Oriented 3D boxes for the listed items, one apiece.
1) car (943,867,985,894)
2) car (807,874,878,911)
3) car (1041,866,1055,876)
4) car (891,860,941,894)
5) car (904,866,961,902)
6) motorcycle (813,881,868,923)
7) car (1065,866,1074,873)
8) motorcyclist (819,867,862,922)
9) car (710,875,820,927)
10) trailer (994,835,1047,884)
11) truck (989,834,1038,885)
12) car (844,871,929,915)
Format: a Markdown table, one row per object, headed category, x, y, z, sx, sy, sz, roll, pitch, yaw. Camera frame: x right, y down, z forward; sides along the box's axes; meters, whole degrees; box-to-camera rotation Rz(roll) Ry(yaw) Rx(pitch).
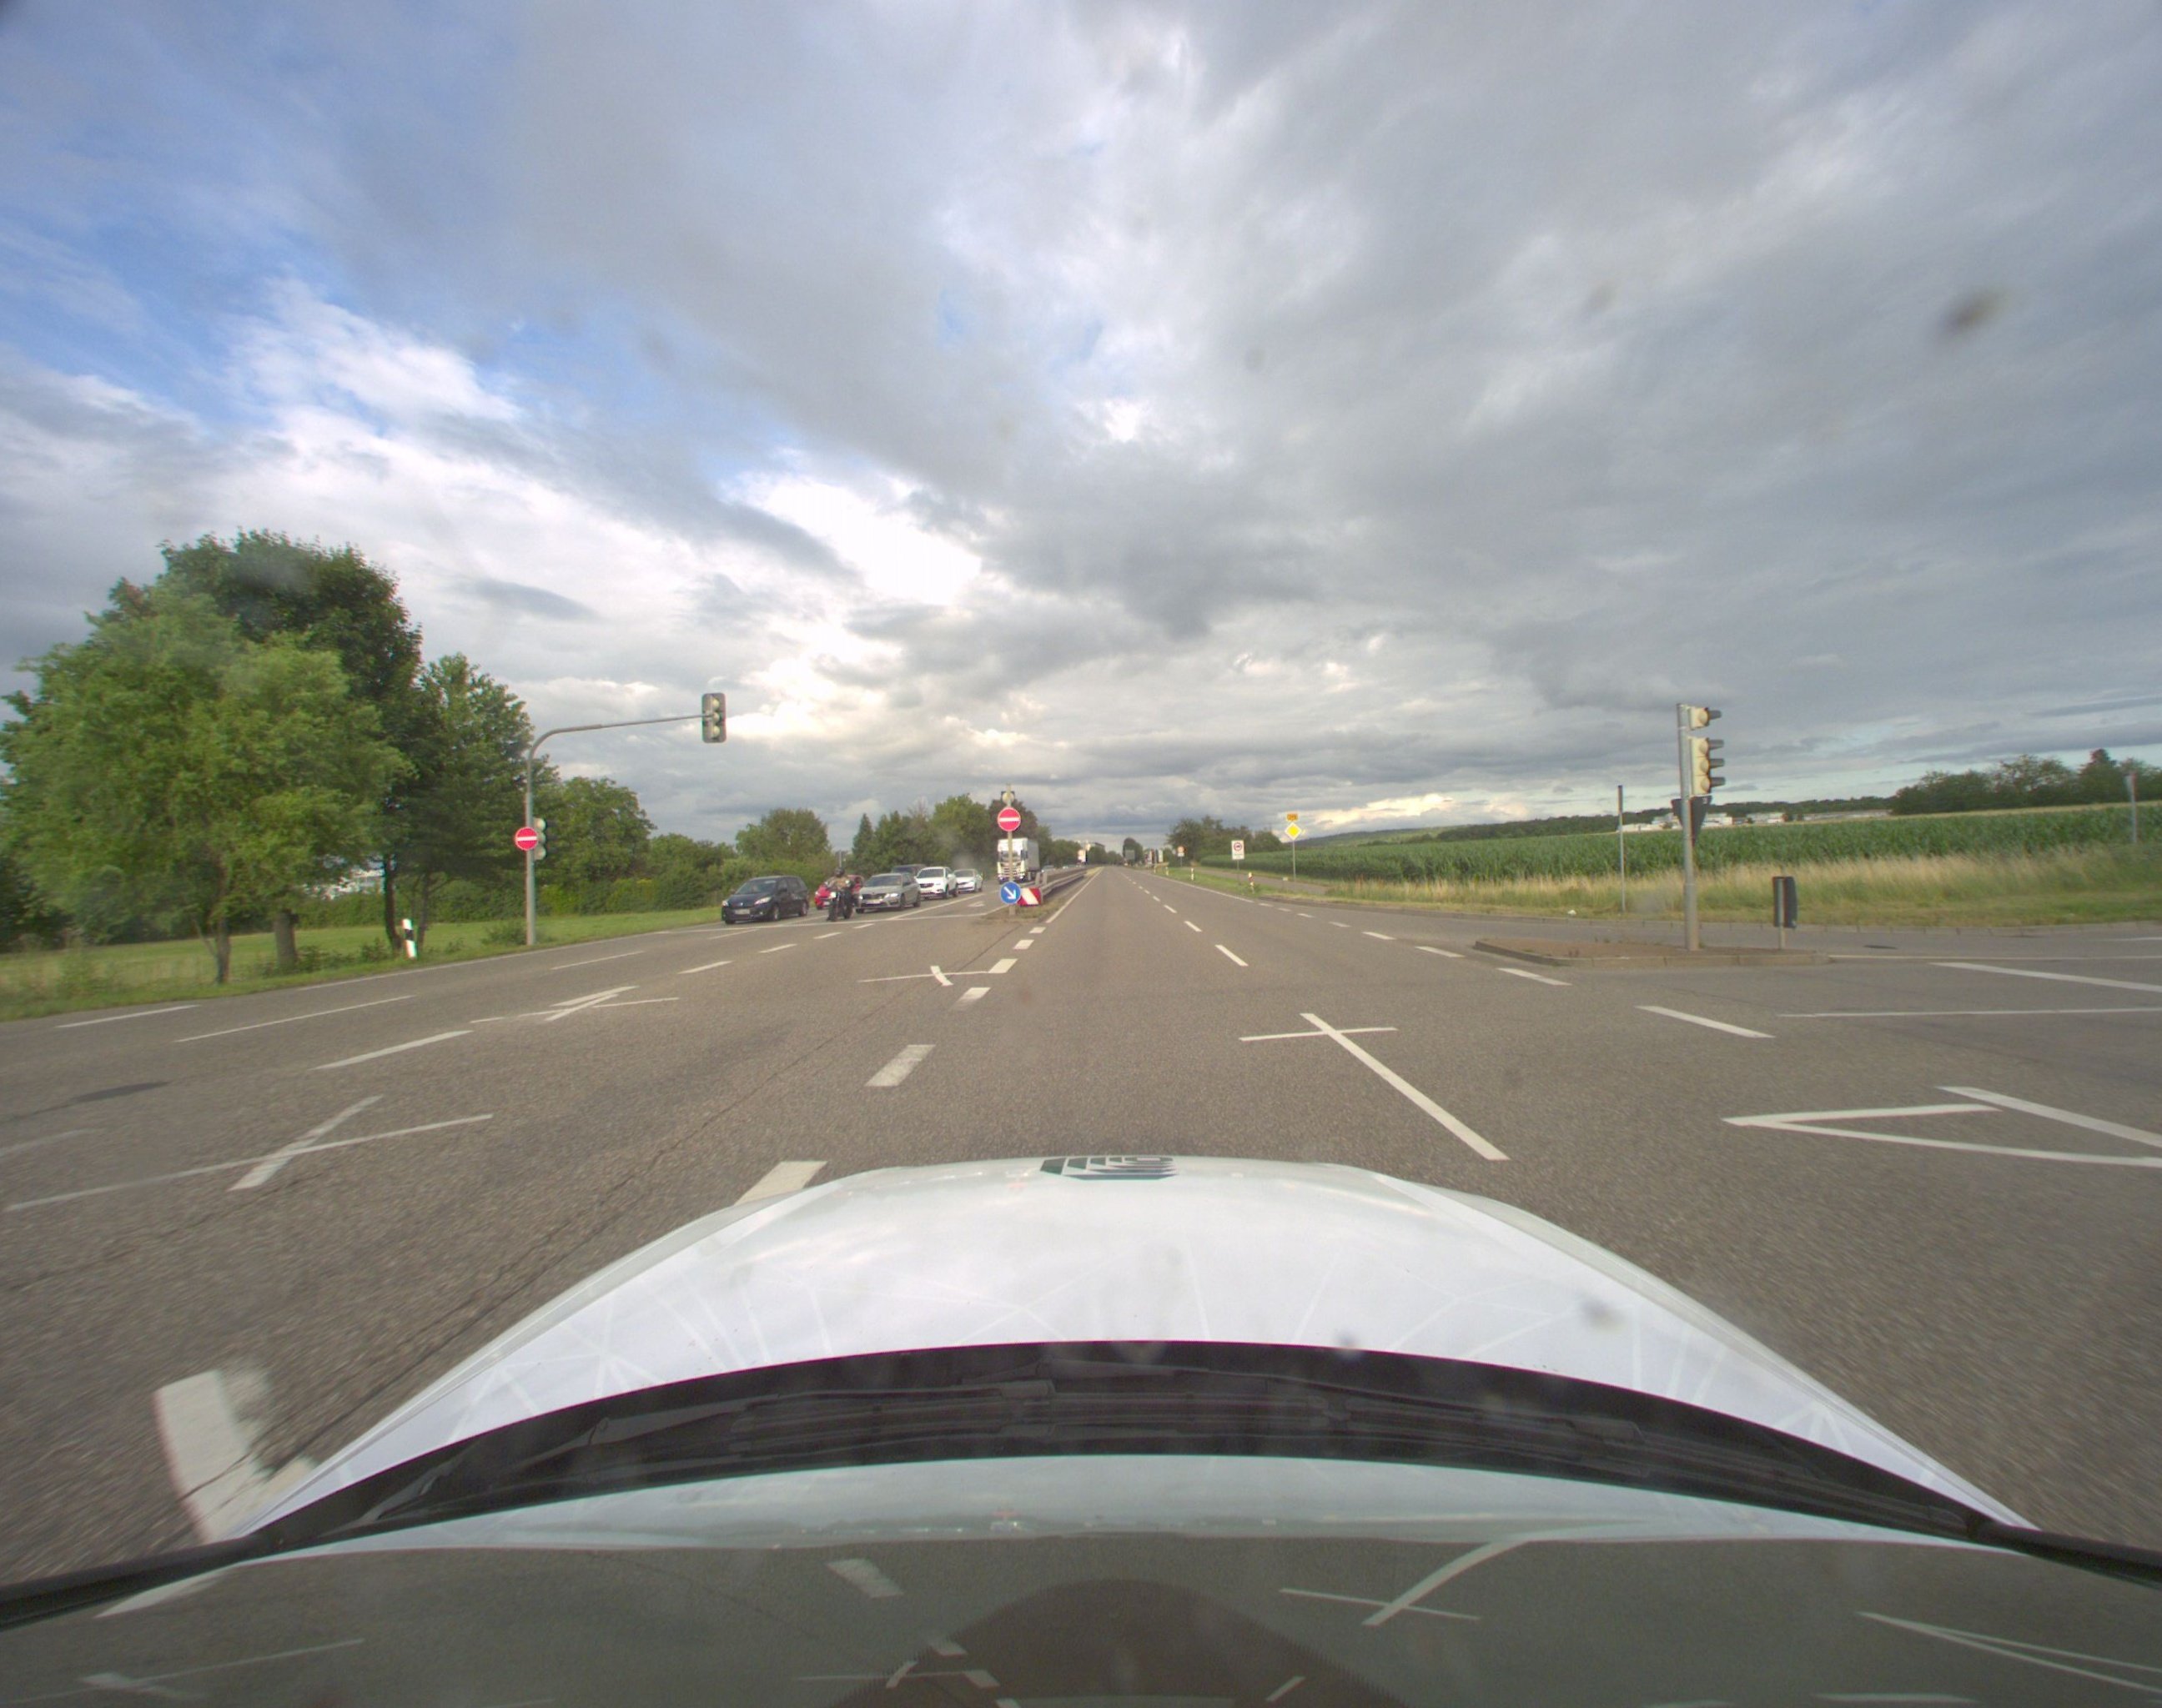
| category | x | y | z | sx | sy | sz | roll | pitch | yaw |
| --- | --- | --- | --- | --- | --- | --- | --- | --- | --- |
| car | -7.038 | 1.565 | 49.370 | 1.782 | 1.444 | 4.161 | -3 | -1 | 2 |
| car | -10.990 | 1.736 | 37.795 | 1.900 | 1.465 | 4.185 | -3 | -1 | 2 |
| car | -5.092 | 2.581 | 124.915 | 1.782 | 1.386 | 4.161 | -3 | -1 | 2 |
| car | -10.716 | 1.492 | 53.329 | 1.986 | 2.014 | 4.949 | -3 | -1 | 2 |
| car | -7.403 | 1.452 | 41.086 | 1.900 | 1.610 | 4.406 | -3 | -1 | 2 |
| motorcycle | -7.764 | 1.524 | 26.440 | 0.913 | 1.203 | 2.480 | -3 | -1 | 2 |
| car | -2.841 | 3.803 | 196.229 | 1.860 | 1.477 | 4.827 | -3 | -1 | 2 |
| motorcyclist | -7.769 | 1.285 | 26.374 | 0.913 | 1.709 | 1.276 | -3 | -1 | 2 |
| car | -11.288 | 1.632 | 29.533 | 1.900 | 1.535 | 4.940 | -3 | -1 | 2 |
| trailer | -5.700 | 0.580 | 79.405 | 3.452 | 4.150 | 13.921 | -4 | -1 | 2 |
| truck | -5.930 | 0.469 | 72.850 | 3.462 | 4.150 | 6.052 | -4 | -1 | 2 |
| car | -7.511 | 1.459 | 31.993 | 1.900 | 1.428 | 5.154 | -3 | -1 | 2 |
